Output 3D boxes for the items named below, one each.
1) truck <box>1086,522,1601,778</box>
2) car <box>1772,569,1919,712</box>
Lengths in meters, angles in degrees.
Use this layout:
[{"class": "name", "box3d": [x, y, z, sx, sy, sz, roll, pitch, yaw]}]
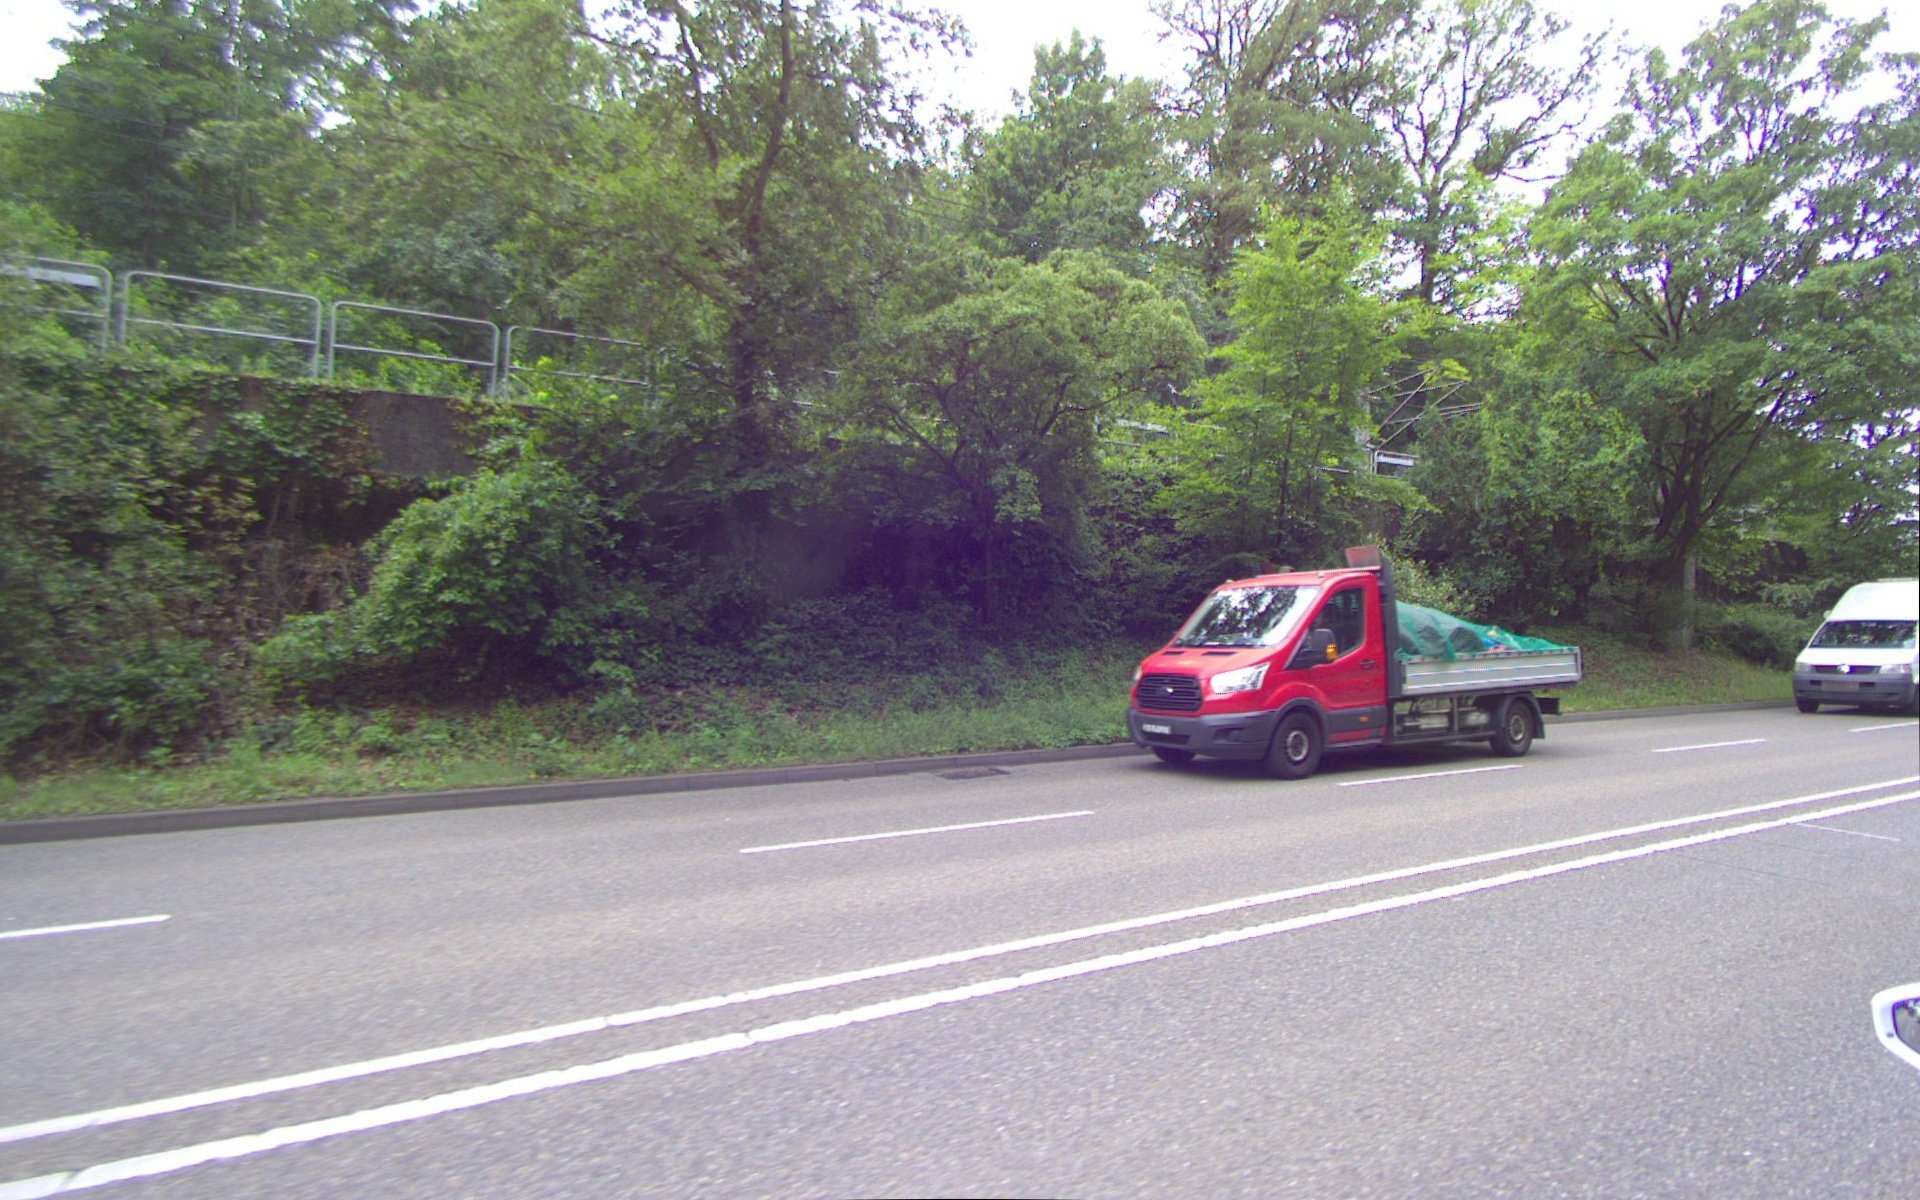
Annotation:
[{"class": "truck", "box3d": [4.755, 0.621, 12.103, 6.386, 2.442, 2.168, 2, -4, -29]}, {"class": "car", "box3d": [18.572, 0.830, 20.150, 4.856, 2.589, 1.879, 2, -3, -30]}]
